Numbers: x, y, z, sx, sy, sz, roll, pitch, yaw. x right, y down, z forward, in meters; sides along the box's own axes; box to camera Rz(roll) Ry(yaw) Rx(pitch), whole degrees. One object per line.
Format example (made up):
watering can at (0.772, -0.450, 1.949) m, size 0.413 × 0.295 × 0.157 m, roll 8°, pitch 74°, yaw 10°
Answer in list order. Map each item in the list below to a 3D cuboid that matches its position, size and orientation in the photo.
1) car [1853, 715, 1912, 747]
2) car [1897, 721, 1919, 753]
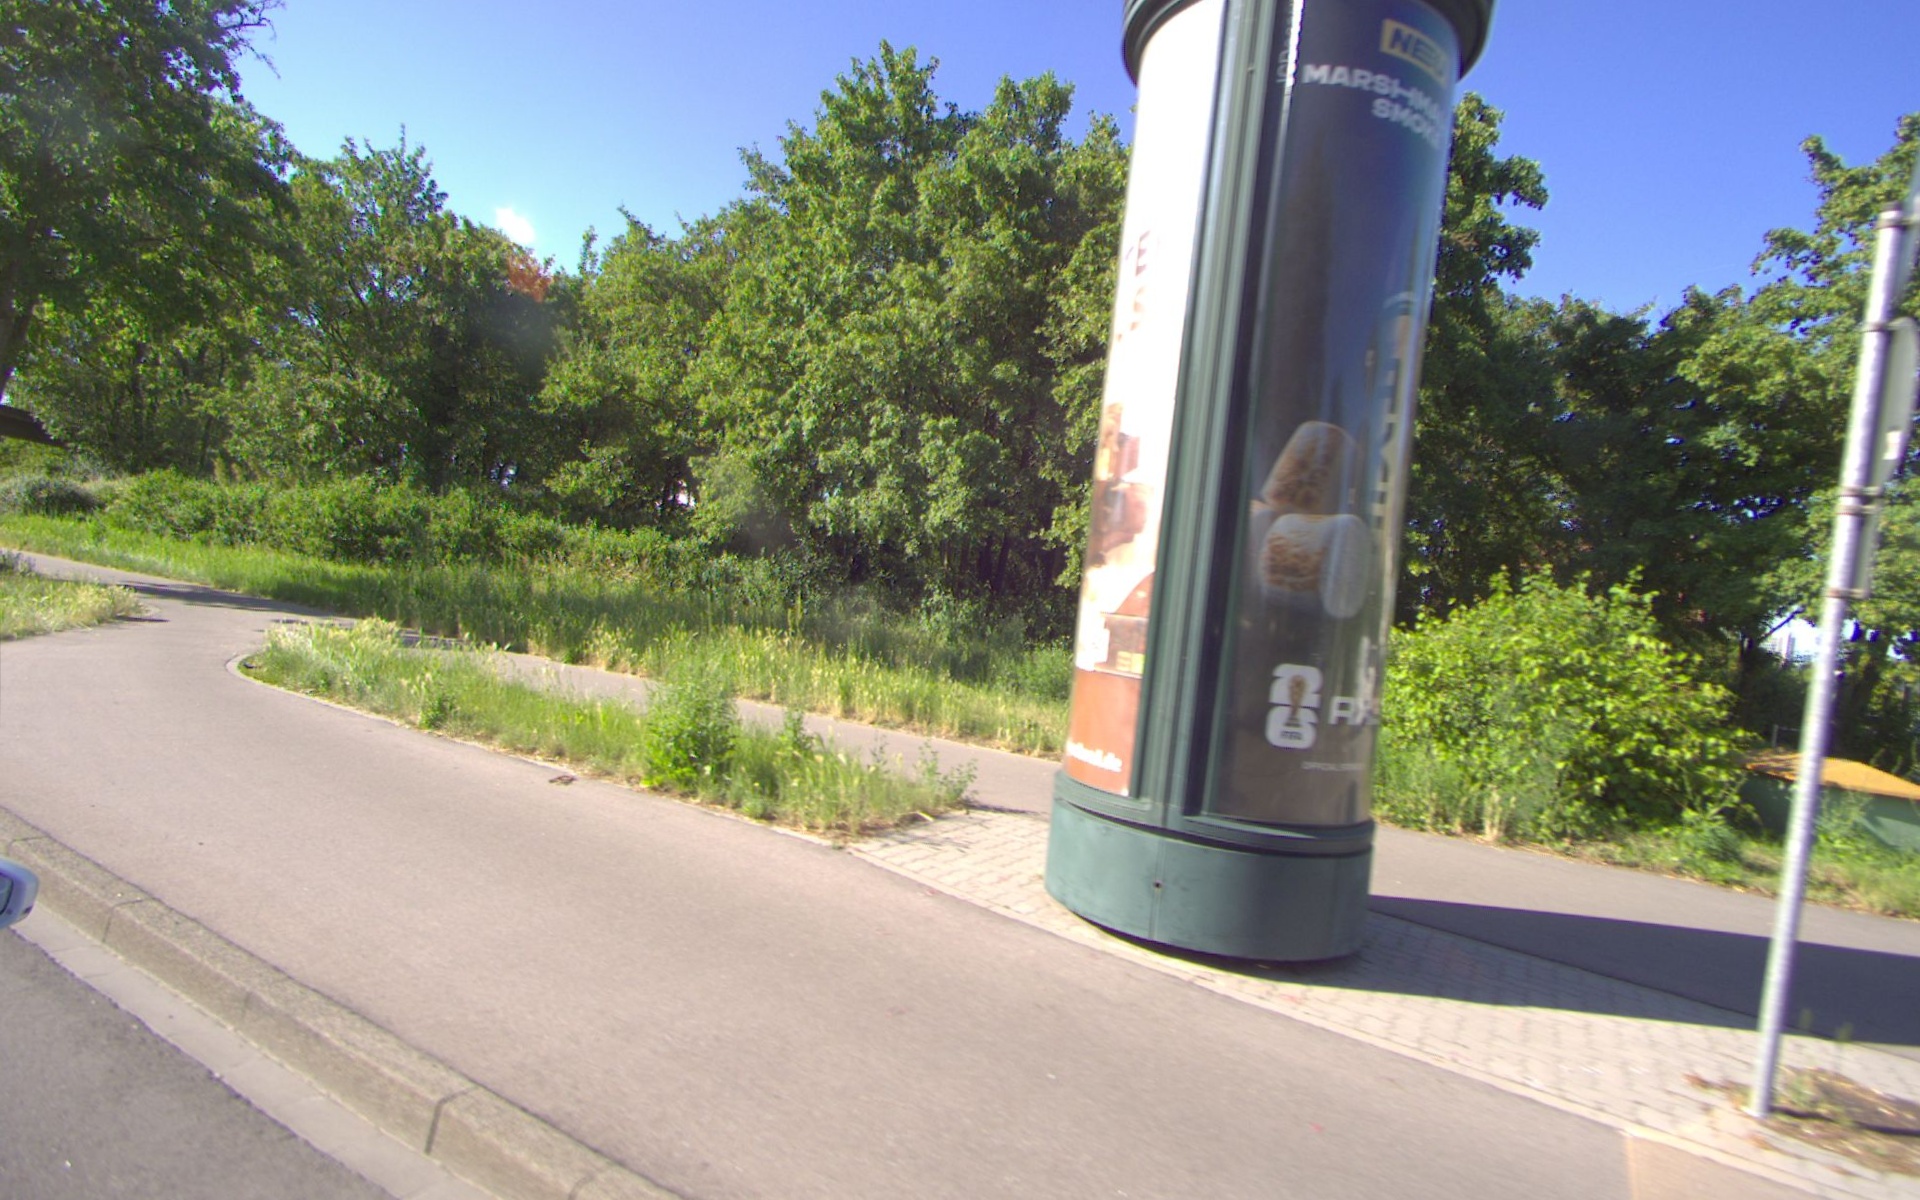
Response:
car at (51.860, 7.325, 56.600) m, size 1.780 × 1.364 × 3.819 m, roll 9°, pitch 0°, yaw 35°
car at (45.142, 6.495, 46.646) m, size 1.780 × 1.364 × 3.819 m, roll 9°, pitch 0°, yaw 35°
